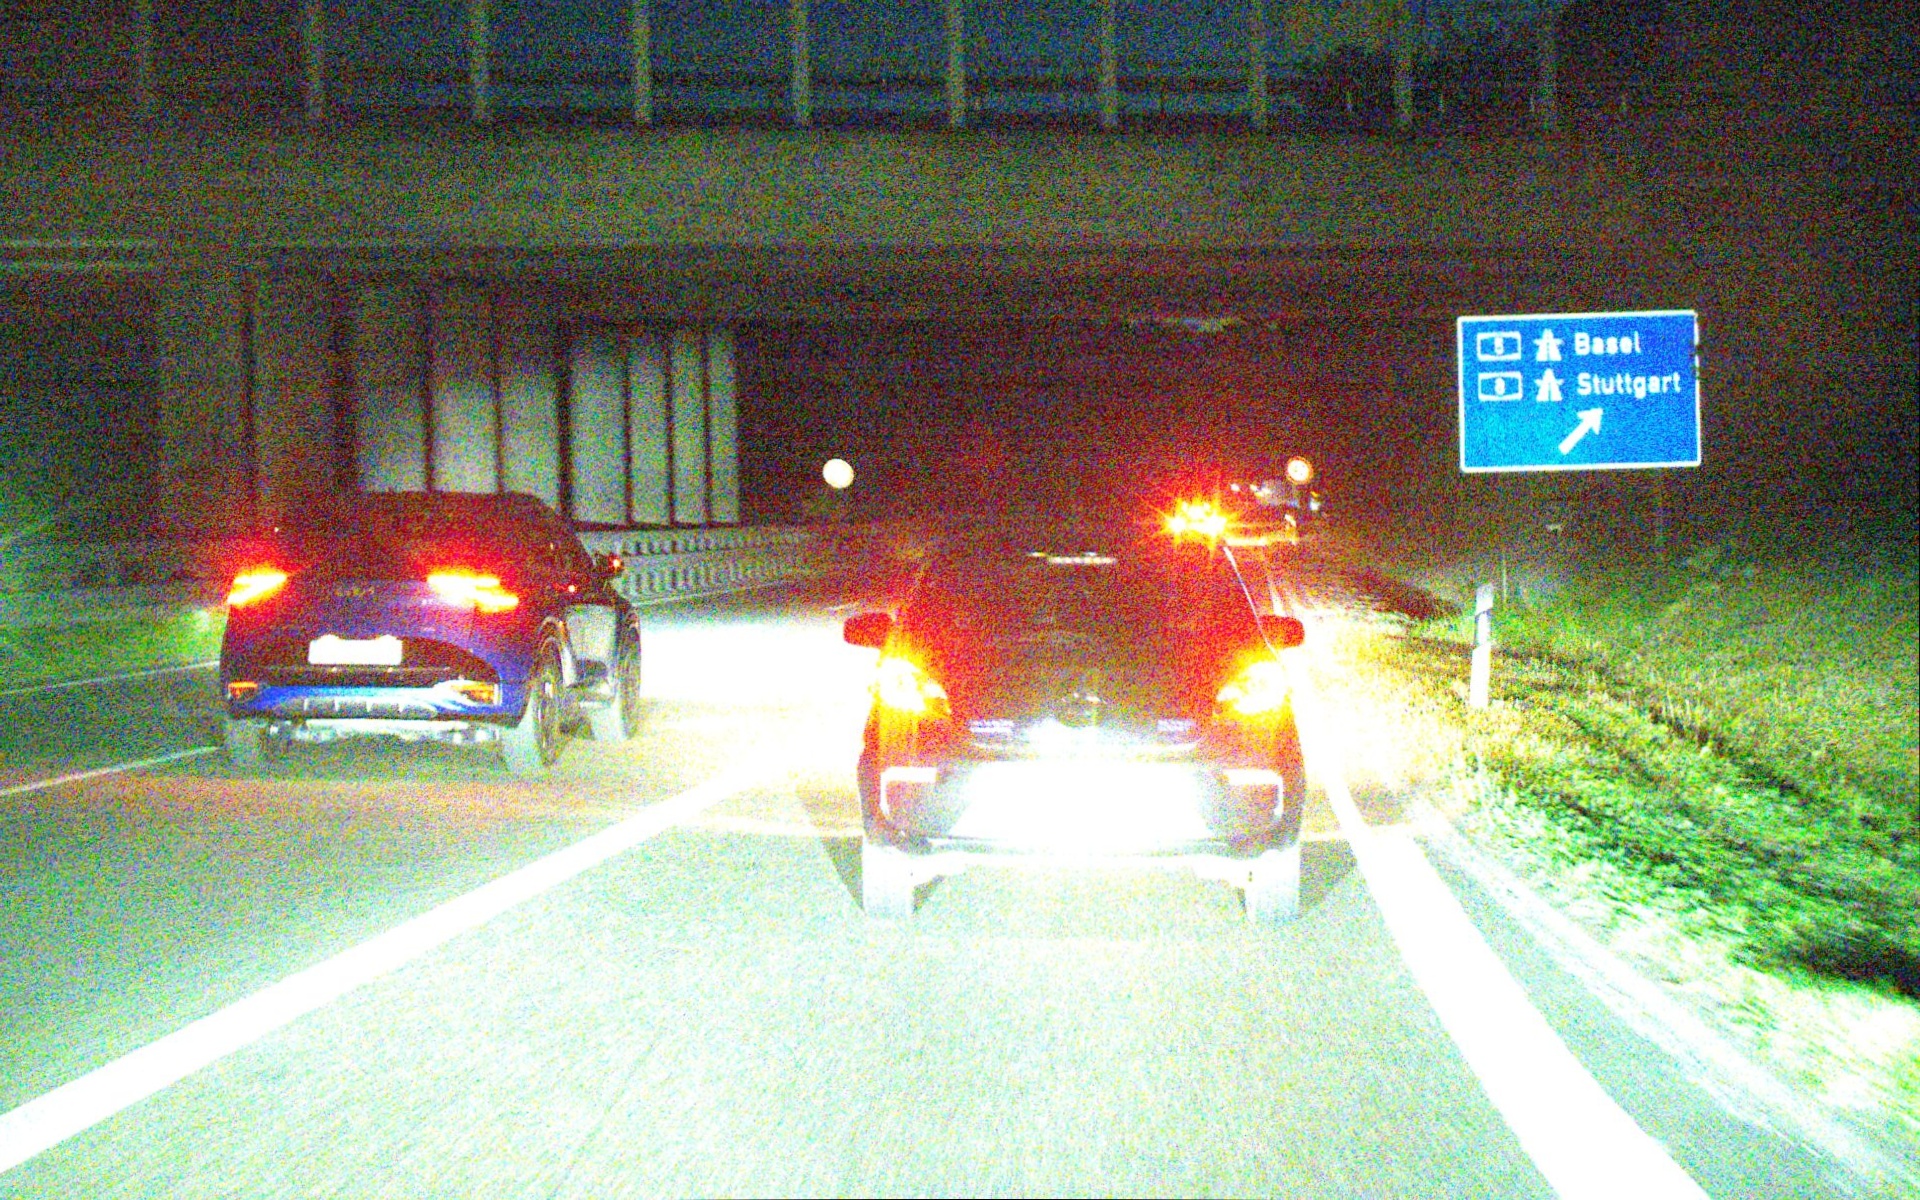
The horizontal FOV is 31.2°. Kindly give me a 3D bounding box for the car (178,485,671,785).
[{"bbox_3d":[-3.154,0.156,21.260,1.940,1.603,4.643,2,1,5],"label":"car"}]

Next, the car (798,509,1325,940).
[{"bbox_3d":[0.260,0.384,13.885,1.691,1.472,4.001,1,1,-4],"label":"car"}]

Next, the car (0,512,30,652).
[{"bbox_3d":[-14.769,-0.242,48.103,1.994,2.007,4.608,0,1,4],"label":"car"}]

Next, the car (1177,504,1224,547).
[{"bbox_3d":[9.123,-2.842,130.573,1.733,1.612,3.798,0,1,4],"label":"car"}]

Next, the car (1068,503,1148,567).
[{"bbox_3d":[4.008,-1.734,92.812,1.951,1.533,4.240,-4,0,4],"label":"car"}]
